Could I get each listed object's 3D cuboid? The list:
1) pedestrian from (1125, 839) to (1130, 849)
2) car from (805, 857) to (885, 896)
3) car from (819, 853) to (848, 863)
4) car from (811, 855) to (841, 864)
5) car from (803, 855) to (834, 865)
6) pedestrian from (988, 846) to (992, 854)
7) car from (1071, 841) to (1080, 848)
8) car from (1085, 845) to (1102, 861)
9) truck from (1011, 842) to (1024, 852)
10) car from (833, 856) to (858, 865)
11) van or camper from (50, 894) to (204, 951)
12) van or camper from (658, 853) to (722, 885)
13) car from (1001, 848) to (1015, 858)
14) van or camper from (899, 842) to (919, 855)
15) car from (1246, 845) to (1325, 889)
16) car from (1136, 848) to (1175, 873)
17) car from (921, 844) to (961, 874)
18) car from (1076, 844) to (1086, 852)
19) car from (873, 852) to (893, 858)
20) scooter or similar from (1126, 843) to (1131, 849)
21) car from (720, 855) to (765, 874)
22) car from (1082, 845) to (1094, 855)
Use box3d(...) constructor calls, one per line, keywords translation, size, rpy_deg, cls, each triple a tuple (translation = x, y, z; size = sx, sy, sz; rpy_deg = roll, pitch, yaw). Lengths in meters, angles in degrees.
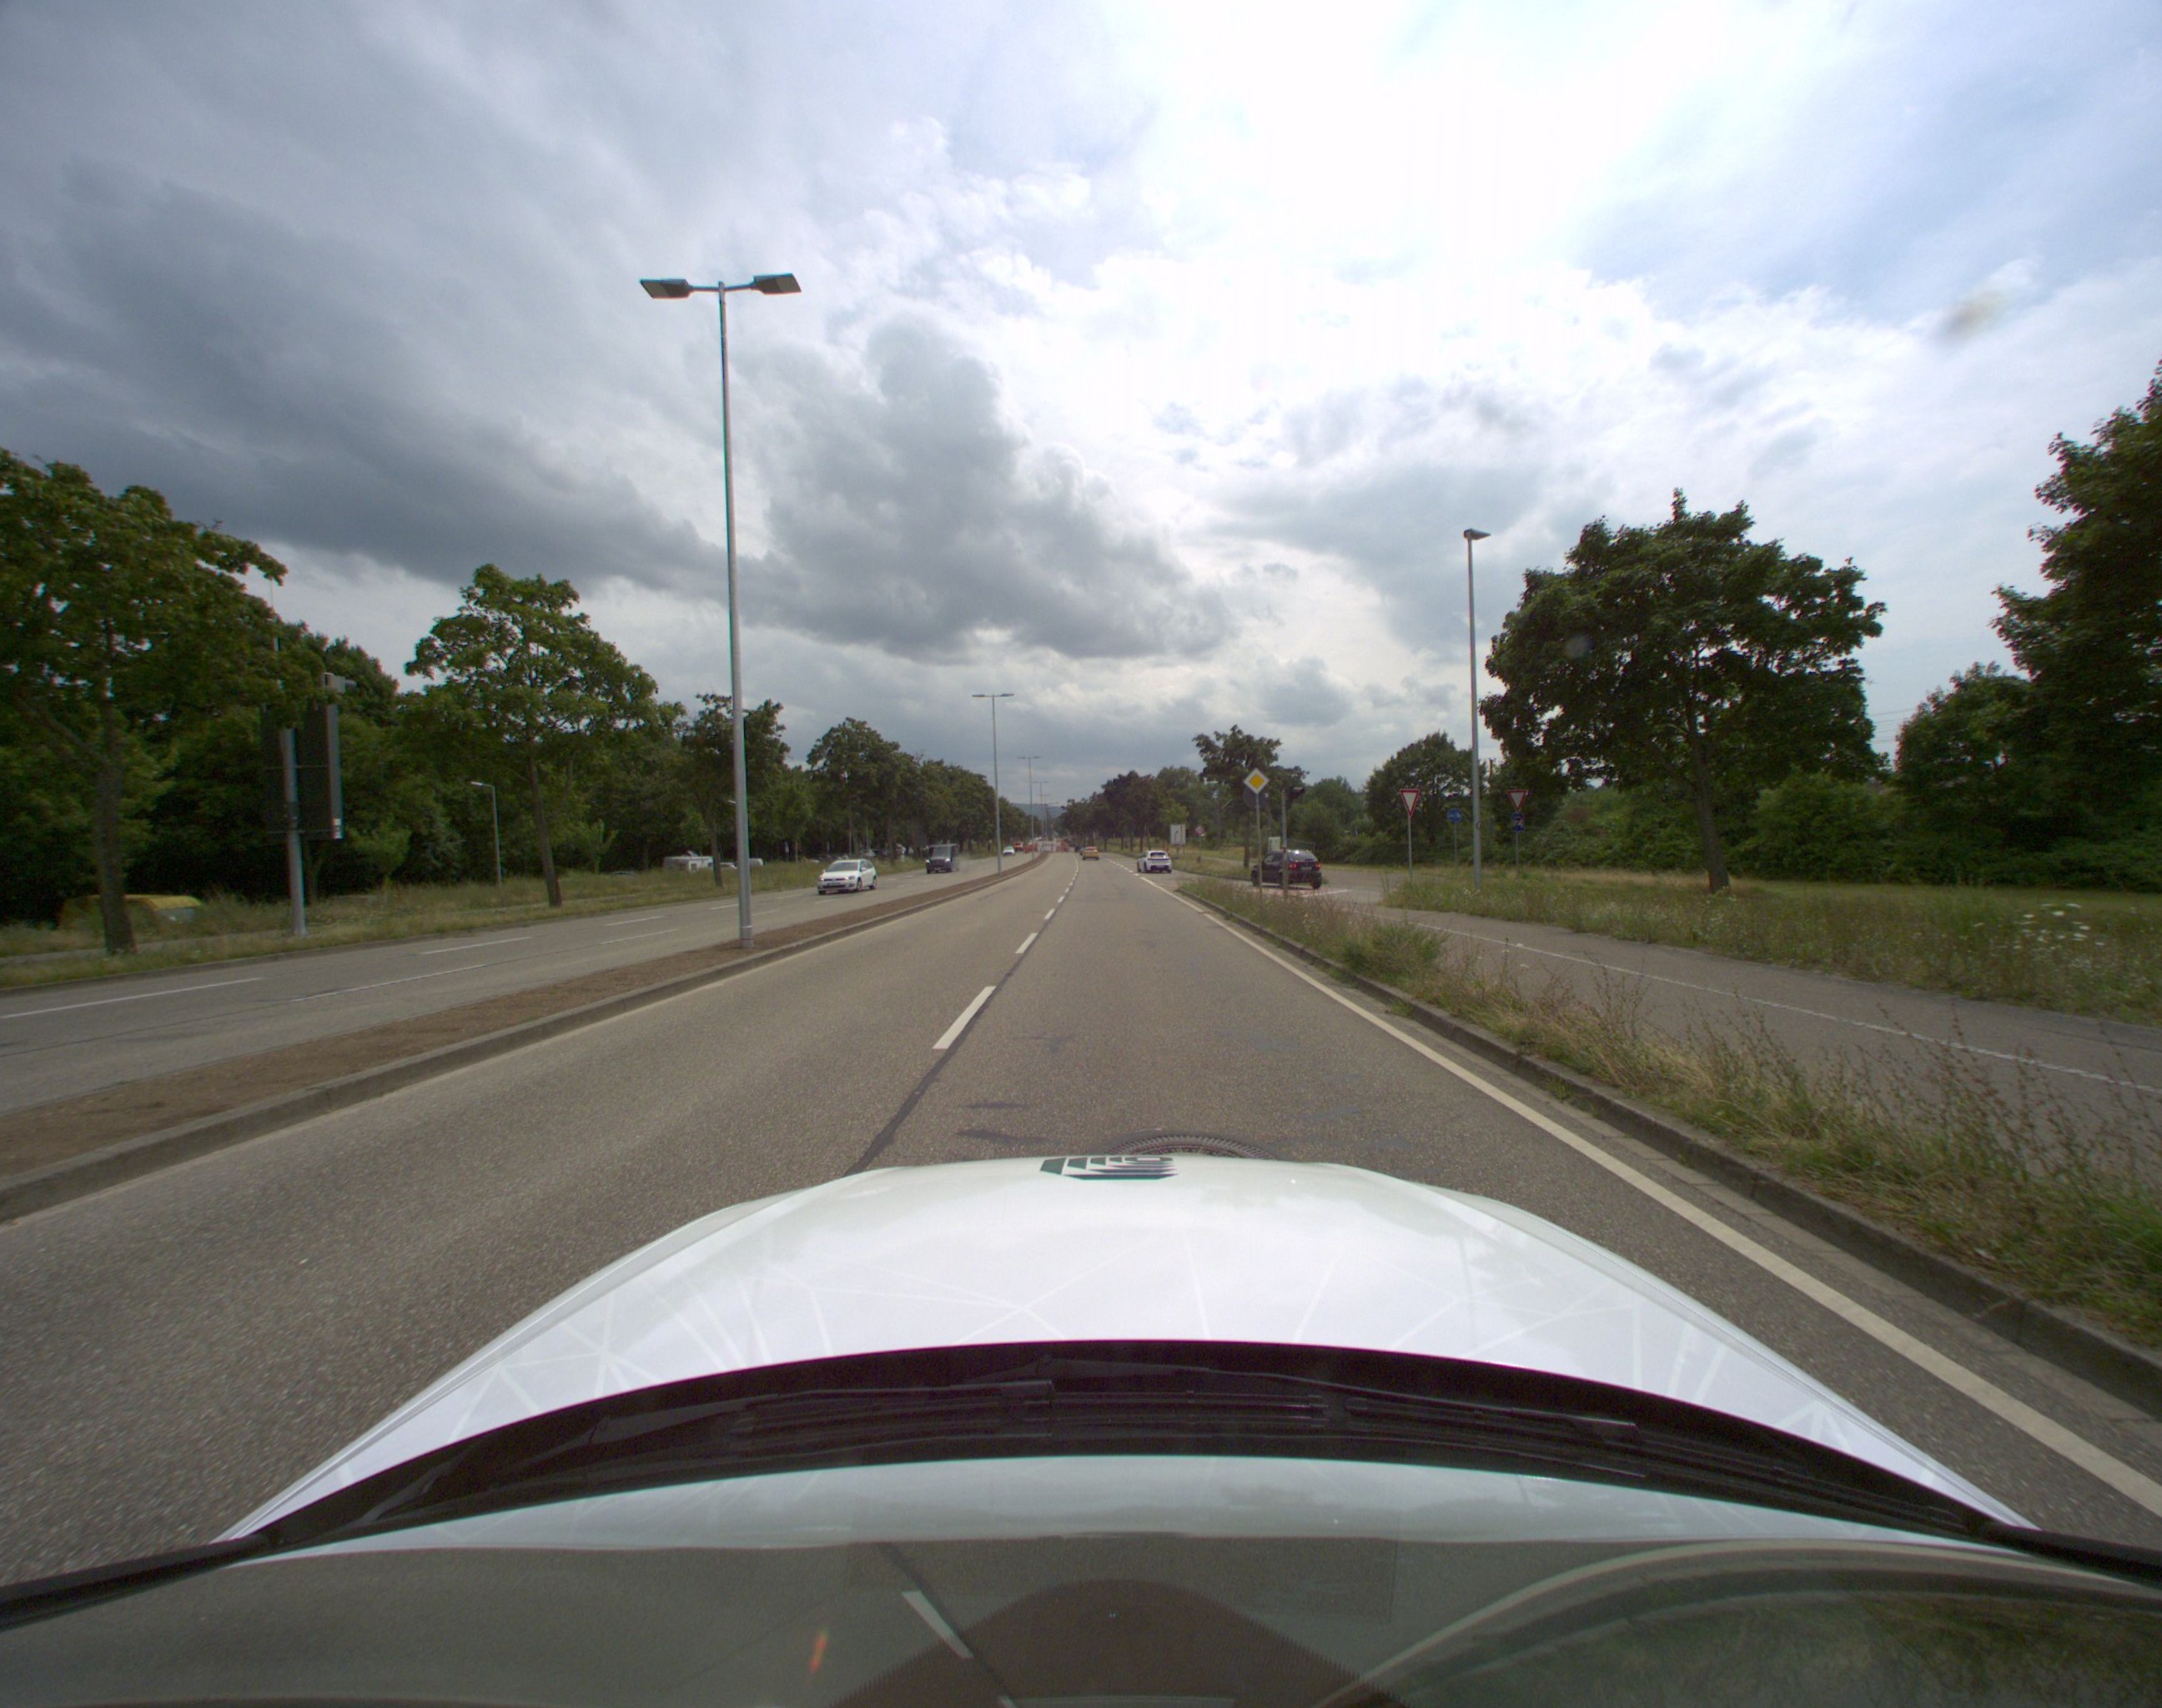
box3d(translation=(8.095, -1.703, 142.313), size=(0.689, 1.695, 0.932), rpy_deg=(-2, 1, -6), cls="pedestrian")
box3d(translation=(-10.535, 0.966, 36.740), size=(1.986, 1.430, 4.691), rpy_deg=(-3, 1, 2), cls="car")
box3d(translation=(-39.100, 0.624, 128.659), size=(3.973, 1.360, 1.668), rpy_deg=(-2, 1, 1), cls="car")
box3d(translation=(-38.813, 0.813, 123.930), size=(3.975, 1.259, 1.853), rpy_deg=(-2, 1, -1), cls="car")
box3d(translation=(-38.631, 0.843, 119.693), size=(3.975, 1.259, 1.563), rpy_deg=(-2, 1, -1), cls="car")
box3d(translation=(-19.264, -0.844, 172.125), size=(0.693, 1.838, 0.646), rpy_deg=(-2, 1, -23), cls="pedestrian")
box3d(translation=(-1.419, -2.588, 215.246), size=(2.198, 1.683, 4.002), rpy_deg=(-1, 1, 1), cls="car")
box3d(translation=(1.402, -0.127, 91.236), size=(1.787, 1.561, 4.000), rpy_deg=(-2, 1, 0), cls="car")
box3d(translation=(-13.069, -1.430, 168.804), size=(2.082, 1.994, 6.038), rpy_deg=(-3, 1, 0), cls="truck")
box3d(translation=(-38.711, 1.016, 133.975), size=(3.633, 1.360, 1.709), rpy_deg=(-2, 1, 1), cls="car")
box3d(translation=(-38.120, 2.695, 32.588), size=(4.327, 2.013, 2.005), rpy_deg=(0, 0, 9), cls="van or camper")
box3d(translation=(-35.523, 1.289, 74.306), size=(2.464, 2.540, 6.720), rpy_deg=(-2, 1, 0), cls="van or camper")
box3d(translation=(-11.618, -0.182, 129.958), size=(1.711, 1.420, 4.160), rpy_deg=(-3, 1, 0), cls="car")
box3d(translation=(-38.312, -1.211, 181.315), size=(3.976, 2.756, 1.926), rpy_deg=(-2, 1, -2), cls="van or camper")
box3d(translation=(8.448, 0.474, 33.964), size=(1.704, 1.668, 3.985), rpy_deg=(-1, 1, -11), cls="car")
box3d(translation=(4.848, 0.405, 53.507), size=(1.765, 1.464, 3.990), rpy_deg=(-2, 1, -7), cls="car")
box3d(translation=(-11.242, 0.387, 65.782), size=(2.089, 2.200, 6.003), rpy_deg=(-3, 1, 0), cls="car")
box3d(translation=(0.014, -1.060, 141.101), size=(1.661, 1.269, 4.000), rpy_deg=(-2, 1, 0), cls="car")
box3d(translation=(-37.715, 0.240, 155.145), size=(3.356, 1.093, 1.441), rpy_deg=(-2, 1, 0), cls="car")
box3d(translation=(8.198, -1.415, 141.394), size=(0.681, 1.129, 0.932), rpy_deg=(-2, 1, -6), cls="scooter or similar")
box3d(translation=(-36.567, 1.145, 88.043), size=(3.975, 1.887, 1.938), rpy_deg=(-2, 1, -1), cls="car")
box3d(translation=(0.996, -0.587, 113.732), size=(1.661, 1.269, 4.000), rpy_deg=(-2, 1, 0), cls="car")
